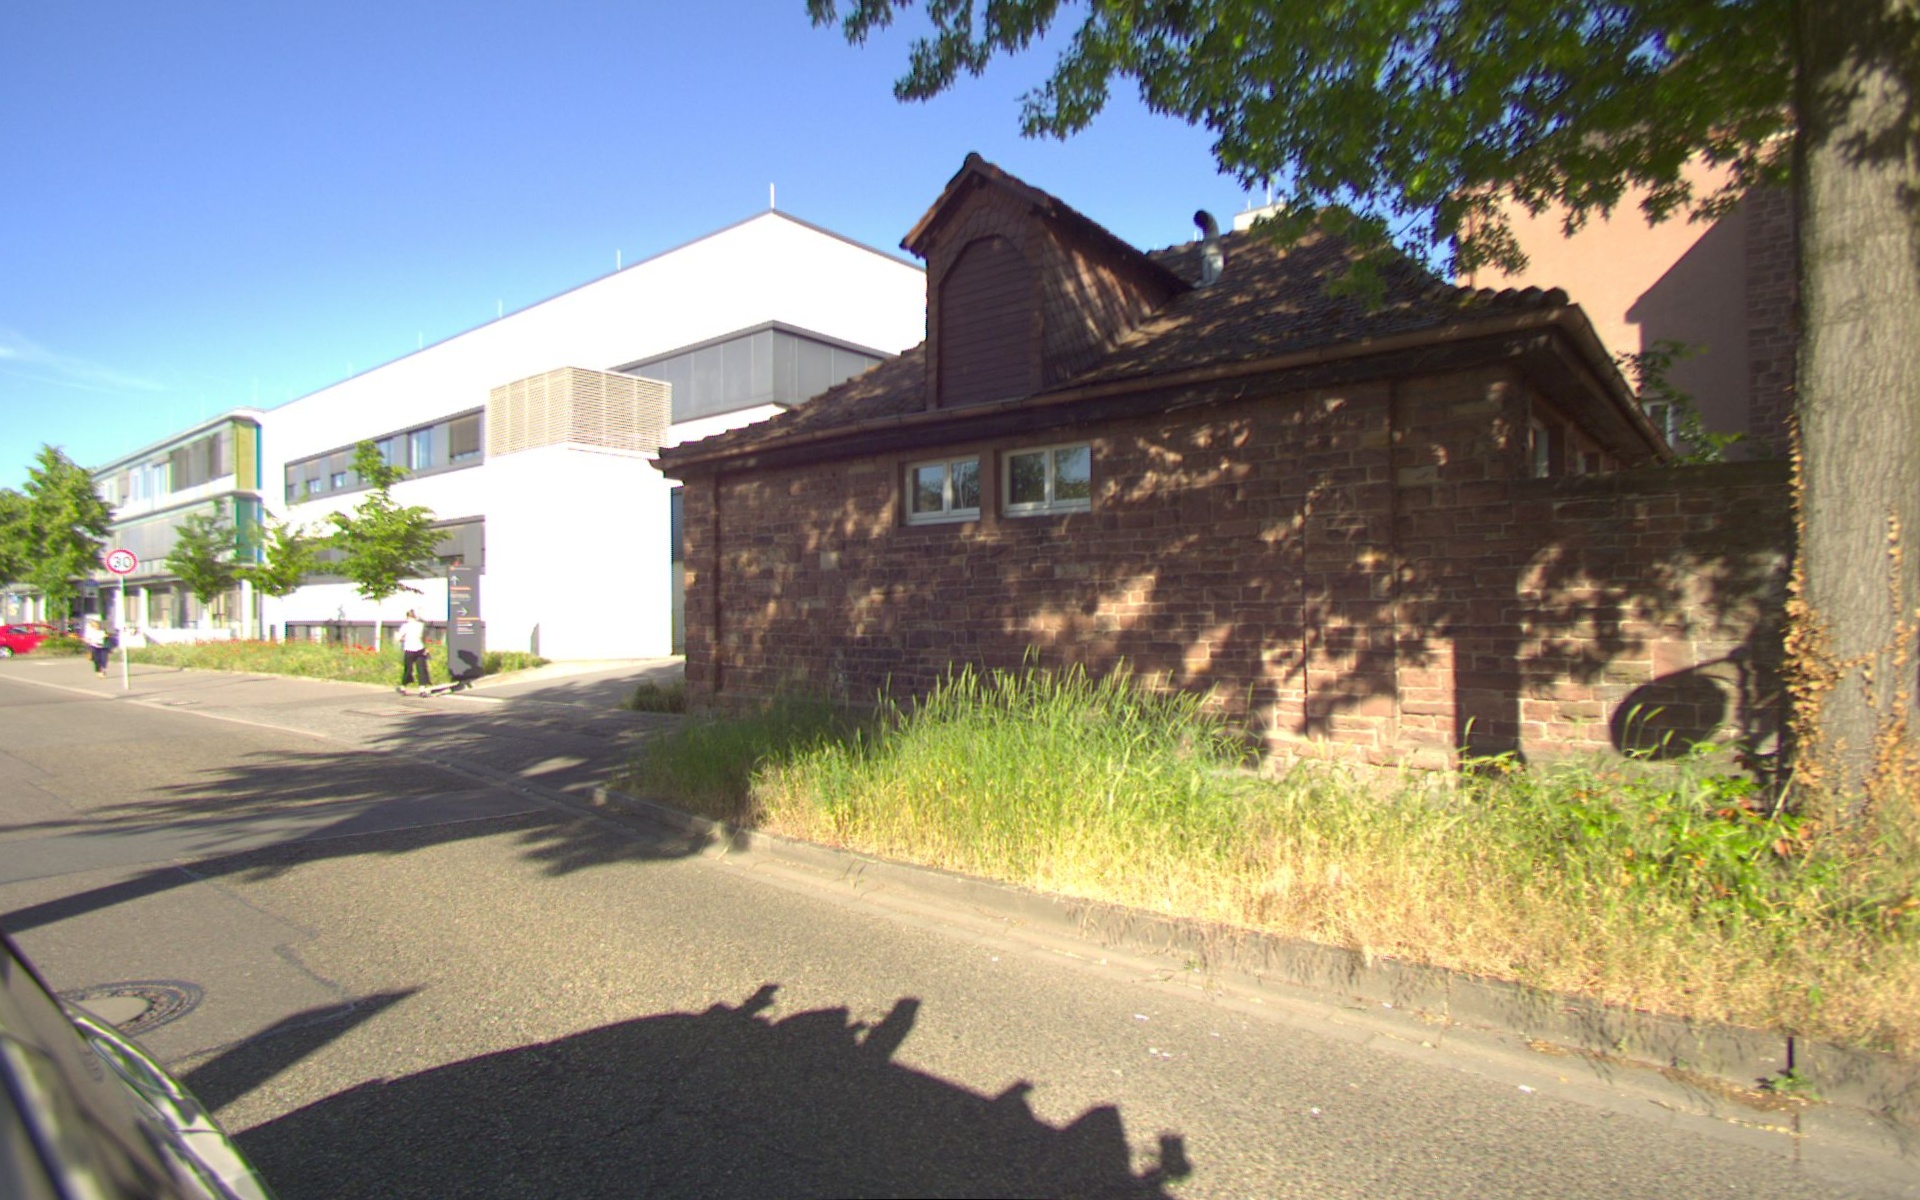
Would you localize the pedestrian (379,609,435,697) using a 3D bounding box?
[{"bbox_3d":[-10.226,0.969,18.711,1.095,1.574,0.516,-2,-1,39],"label":"pedestrian"}]

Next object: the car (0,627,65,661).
[{"bbox_3d":[-43.076,2.006,45.200,1.699,1.377,4.463,-1,0,42],"label":"car"}]

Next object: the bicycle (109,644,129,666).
[{"bbox_3d":[-45.024,2.941,54.183,1.860,1.120,0.529,-2,-2,41],"label":"bicycle"}]

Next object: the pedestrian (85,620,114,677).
[{"bbox_3d":[-23.729,1.335,27.915,0.607,1.535,0.532,-1,-1,41],"label":"pedestrian"}]

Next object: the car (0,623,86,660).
[{"bbox_3d":[-40.912,1.817,44.522,3.592,1.480,1.615,-2,0,-44],"label":"car"}]

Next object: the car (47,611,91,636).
[{"bbox_3d":[-71.099,1.904,80.731,4.706,1.905,1.900,-2,-2,39],"label":"car"}]

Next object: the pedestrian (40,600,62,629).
[{"bbox_3d":[-50.642,0.803,56.400,0.779,1.560,0.765,-1,1,40],"label":"pedestrian"}]
